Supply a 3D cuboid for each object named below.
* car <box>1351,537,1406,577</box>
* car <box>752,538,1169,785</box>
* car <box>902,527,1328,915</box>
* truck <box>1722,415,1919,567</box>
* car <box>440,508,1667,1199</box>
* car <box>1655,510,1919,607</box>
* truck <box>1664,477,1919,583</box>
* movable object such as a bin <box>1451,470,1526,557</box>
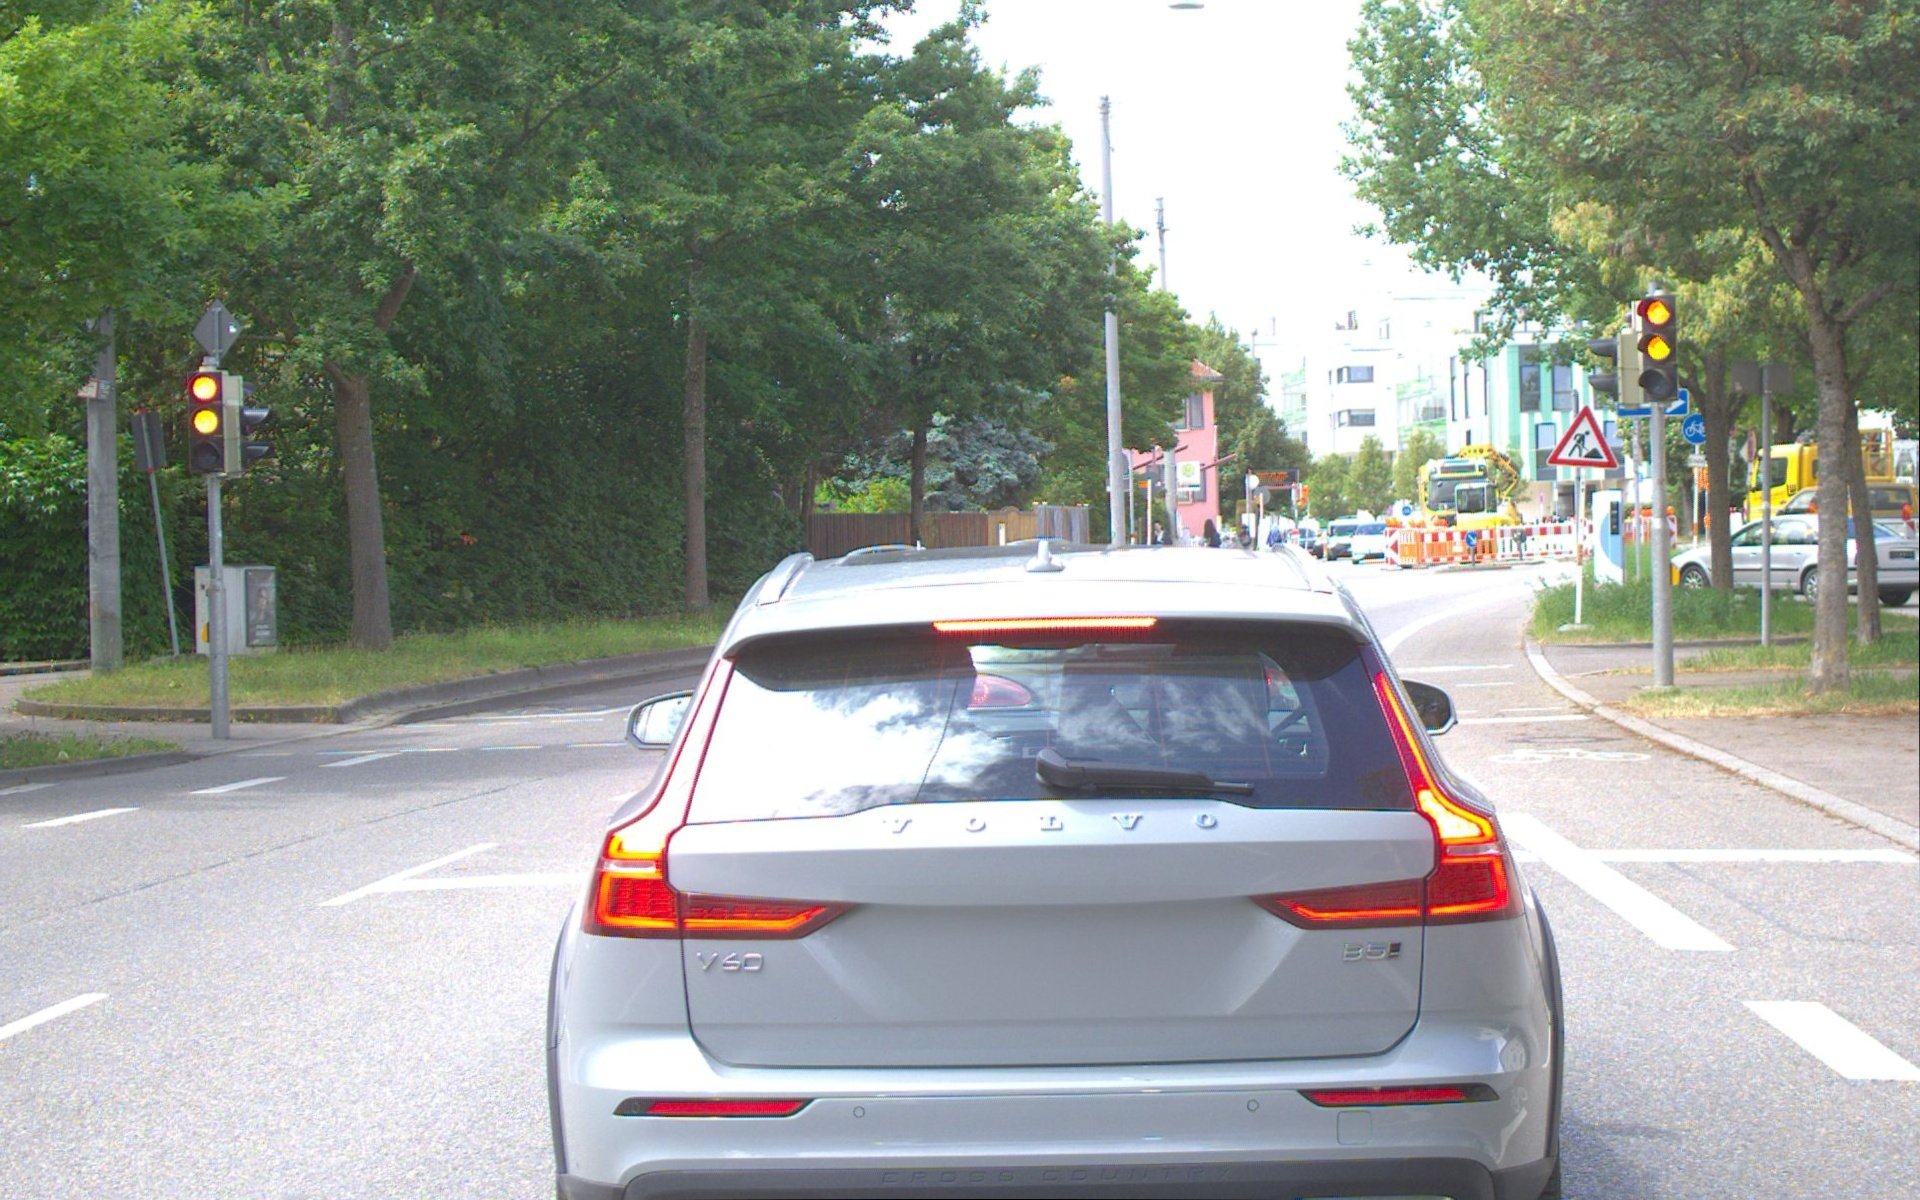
[{"bbox_3d":[15.390,-1.577,126.177,1.829,1.325,3.998,1,-1,9],"label":"car"},{"bbox_3d":[0.110,0.371,23.102,2.103,1.505,3.998,0,0,10],"label":"car"},{"bbox_3d":[0.693,0.467,15.549,1.661,1.503,3.702,1,0,2],"label":"car"},{"bbox_3d":[19.208,-2.208,70.902,2.761,2.998,6.706,1,0,-34],"label":"truck"},{"bbox_3d":[0.152,0.624,7.461,1.928,1.535,4.000,-1,0,0],"label":"car"},{"bbox_3d":[13.303,-0.677,54.414,1.762,1.447,4.689,-1,2,-32],"label":"car"},{"bbox_3d":[16.895,-1.384,68.954,1.993,2.007,5.677,1,0,-33],"label":"truck"},{"bbox_3d":[16.831,-2.768,109.367,2.035,2.634,5.937,-2,1,11],"label":"movable object such as a bin"}]
